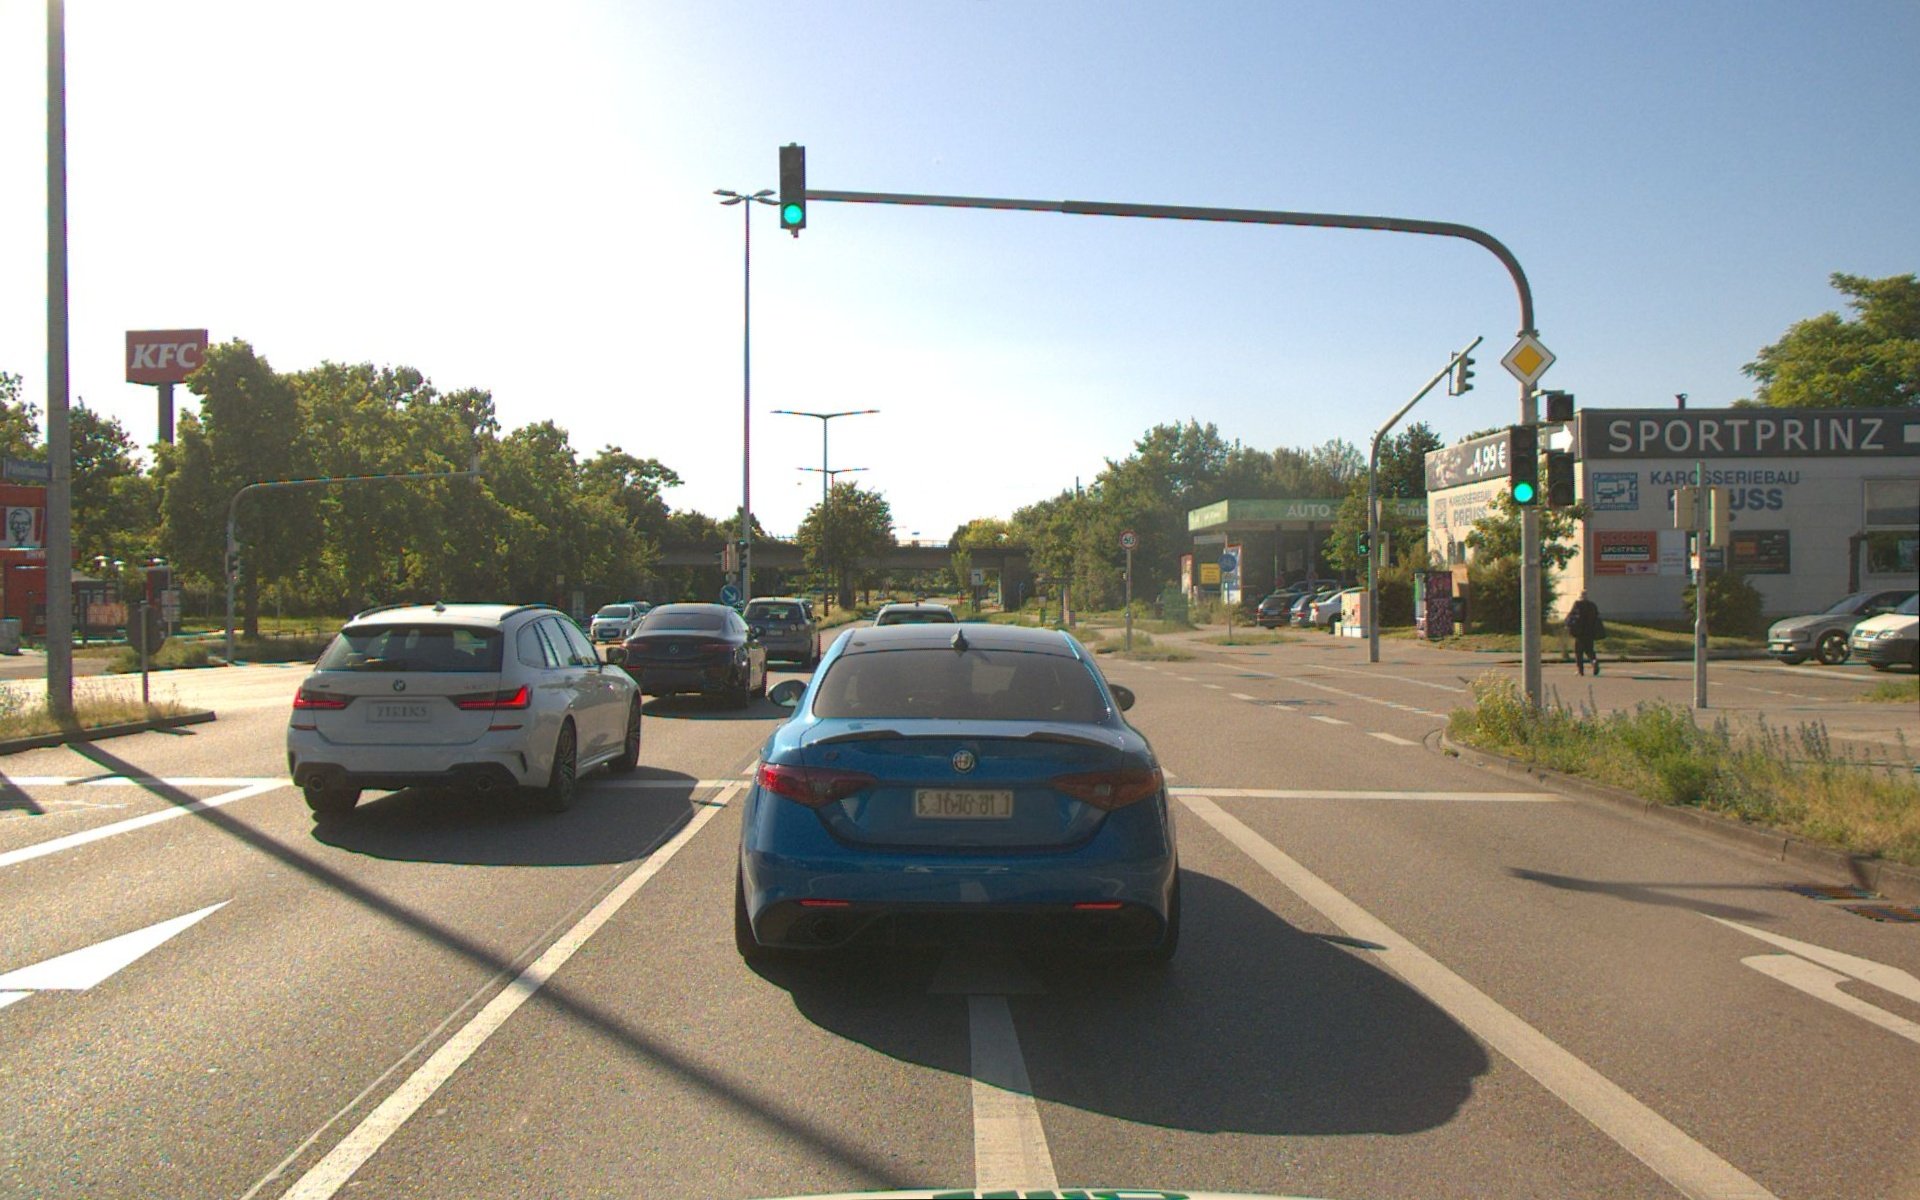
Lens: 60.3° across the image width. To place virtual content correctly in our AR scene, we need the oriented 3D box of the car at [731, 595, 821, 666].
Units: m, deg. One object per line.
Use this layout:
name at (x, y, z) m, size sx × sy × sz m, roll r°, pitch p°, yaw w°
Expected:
car at (-4.212, 0.698, 38.474) m, size 1.723 × 1.516 × 4.401 m, roll 1°, pitch -1°, yaw -2°

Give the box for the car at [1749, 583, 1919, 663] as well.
car at (19.607, 0.469, 35.831) m, size 4.201 × 1.576 × 1.764 m, roll -1°, pitch 1°, yaw -3°

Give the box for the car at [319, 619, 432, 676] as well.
car at (-16.977, 1.352, 48.272) m, size 1.723 × 1.516 × 4.477 m, roll -2°, pitch 0°, yaw -1°

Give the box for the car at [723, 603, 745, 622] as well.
car at (-20.632, 1.152, 151.310) m, size 1.577 × 1.675 × 3.461 m, roll 1°, pitch -1°, yaw -1°

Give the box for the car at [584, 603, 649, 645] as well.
car at (-13.225, 0.898, 63.866) m, size 1.723 × 1.516 × 3.836 m, roll -2°, pitch 0°, yaw -1°

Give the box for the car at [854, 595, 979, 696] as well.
car at (-0.720, 0.696, 26.518) m, size 1.813 × 1.443 × 4.401 m, roll 1°, pitch -1°, yaw -2°

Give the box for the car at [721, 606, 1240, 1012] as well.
car at (0.008, 0.786, 8.183) m, size 1.857 × 1.443 × 4.401 m, roll 1°, pitch -1°, yaw -2°

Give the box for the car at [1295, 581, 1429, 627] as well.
car at (14.590, 0.141, 60.128) m, size 4.397 × 1.479 × 1.858 m, roll -2°, pitch -1°, yaw 1°

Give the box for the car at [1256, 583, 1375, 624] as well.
car at (14.331, 0.145, 66.803) m, size 4.397 × 1.479 × 1.858 m, roll -2°, pitch -1°, yaw 1°

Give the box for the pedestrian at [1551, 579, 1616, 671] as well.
pedestrian at (12.305, 0.497, 32.650) m, size 0.906 × 1.766 × 0.938 m, roll 1°, pitch -1°, yaw -1°

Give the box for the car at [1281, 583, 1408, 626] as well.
car at (14.644, 0.174, 63.115) m, size 4.397 × 1.479 × 1.858 m, roll -2°, pitch -1°, yaw 1°

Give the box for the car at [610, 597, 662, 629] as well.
car at (-17.730, 0.716, 90.695) m, size 1.948 × 1.658 × 4.477 m, roll -2°, pitch 0°, yaw -1°

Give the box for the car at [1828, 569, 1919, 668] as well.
car at (19.646, 0.307, 32.497) m, size 4.294 × 1.833 × 1.764 m, roll -1°, pitch 1°, yaw -3°

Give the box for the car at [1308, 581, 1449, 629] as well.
car at (14.502, 0.192, 57.464) m, size 4.397 × 1.479 × 1.858 m, roll -2°, pitch -1°, yaw 1°

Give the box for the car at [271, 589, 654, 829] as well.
car at (-3.610, 0.728, 12.859) m, size 1.749 × 1.516 × 4.401 m, roll 1°, pitch -1°, yaw -2°

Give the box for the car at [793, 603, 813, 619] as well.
car at (-15.989, 1.124, 168.586) m, size 1.723 × 1.516 × 4.477 m, roll -2°, pitch 0°, yaw -1°

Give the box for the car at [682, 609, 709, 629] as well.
car at (-20.804, 1.493, 130.067) m, size 1.583 × 1.587 × 3.356 m, roll 1°, pitch -1°, yaw -1°

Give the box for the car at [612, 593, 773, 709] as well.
car at (-3.812, 0.707, 24.252) m, size 1.760 × 1.516 × 4.473 m, roll 1°, pitch -1°, yaw -2°

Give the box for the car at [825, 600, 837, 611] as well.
car at (-18.943, 0.806, 242.969) m, size 1.539 × 1.646 × 3.999 m, roll 1°, pitch -1°, yaw -1°

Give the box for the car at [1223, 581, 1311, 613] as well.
car at (16.680, -0.156, 90.052) m, size 4.457 × 1.516 × 1.765 m, roll -2°, pitch -1°, yaw 1°
